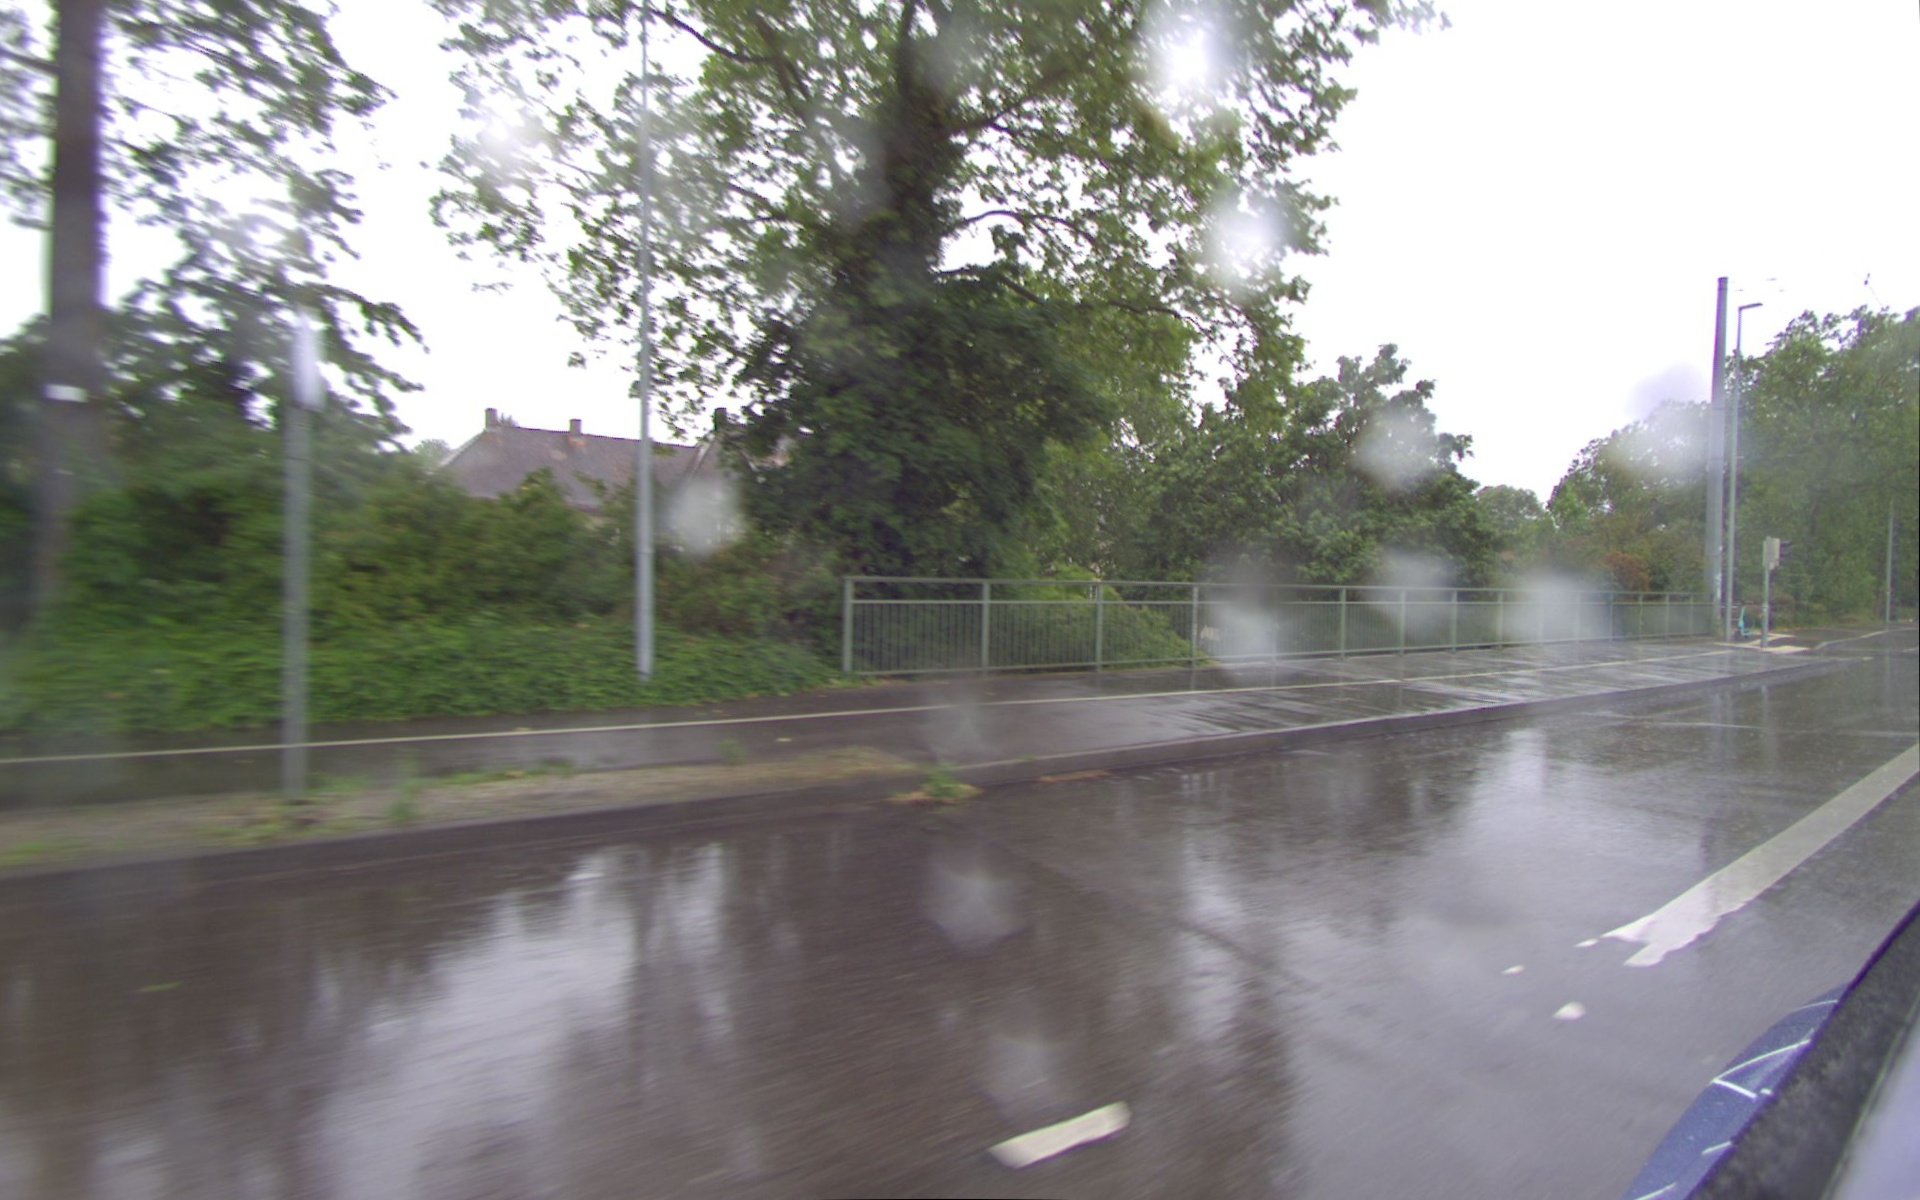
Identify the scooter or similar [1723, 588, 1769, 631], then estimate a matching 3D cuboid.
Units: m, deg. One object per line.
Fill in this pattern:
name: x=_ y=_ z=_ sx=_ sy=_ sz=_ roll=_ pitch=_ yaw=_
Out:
scooter or similar: x=24.795 y=0.290 z=31.934 sx=1.616 sy=1.309 sz=0.761 roll=-1 pitch=1 yaw=-37
